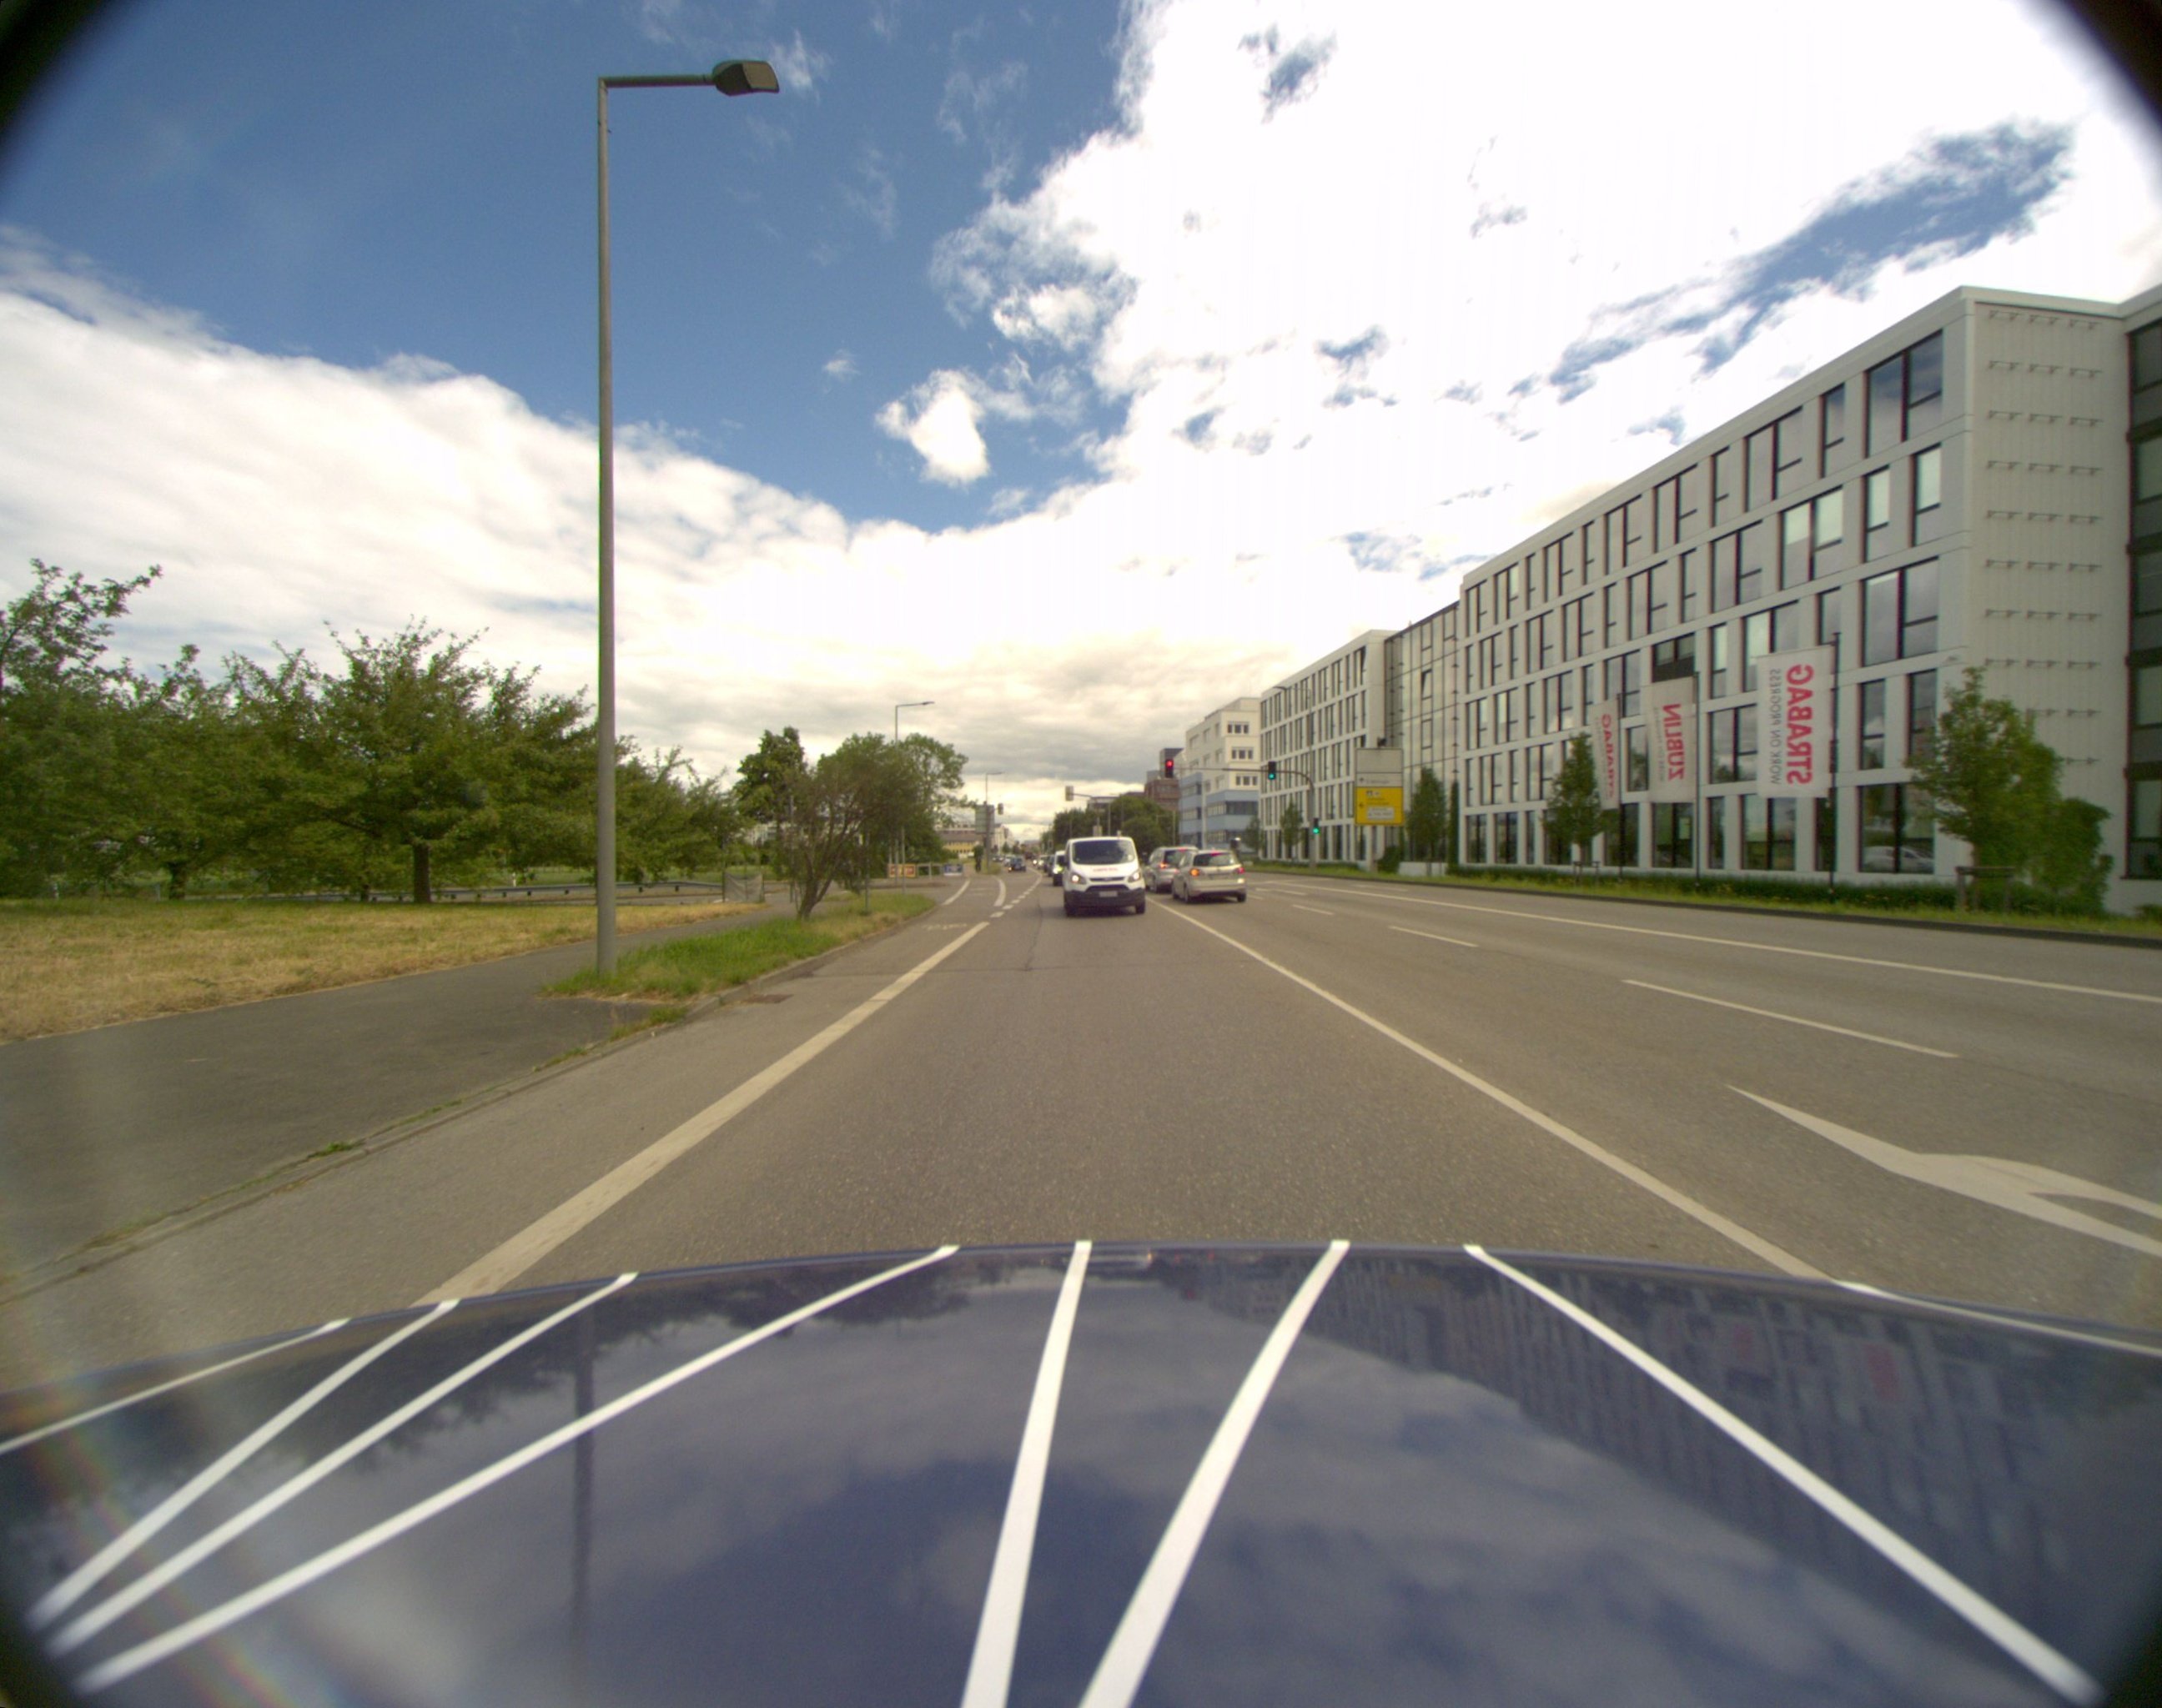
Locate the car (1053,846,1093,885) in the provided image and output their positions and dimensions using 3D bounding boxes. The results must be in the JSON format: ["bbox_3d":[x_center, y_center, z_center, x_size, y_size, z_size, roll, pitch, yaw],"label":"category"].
[{"bbox_3d":[-0.462,0.559,39.722,1.873,1.836,4.370,-2,0,-3],"label":"car"}]

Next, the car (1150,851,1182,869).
[{"bbox_3d":[6.769,0.485,60.800,1.749,1.347,3.637,-2,0,-7],"label":"car"}]

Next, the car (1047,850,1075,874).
[{"bbox_3d":[-1.490,0.548,55.966,1.873,1.685,4.370,-2,0,-3],"label":"car"}]

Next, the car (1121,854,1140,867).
[{"bbox_3d":[5.751,0.716,88.219,1.609,1.384,3.638,-2,0,-6],"label":"car"}]

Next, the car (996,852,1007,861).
[{"bbox_3d":[-15.827,0.417,150.981,1.873,1.685,4.368,-2,0,-9],"label":"car"}]

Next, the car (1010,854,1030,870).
[{"bbox_3d":[-5.866,0.702,73.228,1.736,1.432,4.367,-2,0,-3],"label":"car"}]

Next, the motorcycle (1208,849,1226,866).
[{"bbox_3d":[9.601,0.246,53.701,0.656,1.106,1.933,-2,0,-6],"label":"motorcycle"}]

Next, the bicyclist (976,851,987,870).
[{"bbox_3d":[-9.186,0.596,70.267,1.017,1.698,1.200,0,1,-8],"label":"bicyclist"}]

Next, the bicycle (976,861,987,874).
[{"bbox_3d":[-9.178,1.249,70.231,1.017,1.127,2.673,0,0,-8],"label":"bicycle"}]

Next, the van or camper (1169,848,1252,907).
[{"bbox_3d":[3.858,0.656,23.344,1.748,1.600,4.045,-2,0,-1],"label":"van or camper"}]

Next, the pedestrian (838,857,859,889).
[{"bbox_3d":[-14.046,1.127,45.883,0.799,1.872,0.767,-1,1,26],"label":"pedestrian"}]

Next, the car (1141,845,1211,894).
[{"bbox_3d":[3.540,0.549,29.162,1.873,1.685,4.370,-2,0,-3],"label":"car"}]

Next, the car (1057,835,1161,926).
[{"bbox_3d":[0.524,0.574,19.925,2.122,1.963,6.204,-2,0,-3],"label":"car"}]

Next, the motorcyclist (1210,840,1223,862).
[{"bbox_3d":[9.584,-0.196,53.714,0.656,1.501,0.917,-2,1,-6],"label":"motorcyclist"}]

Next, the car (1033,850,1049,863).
[{"bbox_3d":[-5.360,0.335,101.280,1.873,1.685,4.369,-2,0,-5],"label":"car"}]

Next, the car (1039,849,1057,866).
[{"bbox_3d":[-3.589,0.345,82.485,1.873,1.685,4.370,-2,0,-3],"label":"car"}]

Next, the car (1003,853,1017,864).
[{"bbox_3d":[-9.869,0.638,105.726,1.736,1.432,4.366,-2,0,-5],"label":"car"}]
